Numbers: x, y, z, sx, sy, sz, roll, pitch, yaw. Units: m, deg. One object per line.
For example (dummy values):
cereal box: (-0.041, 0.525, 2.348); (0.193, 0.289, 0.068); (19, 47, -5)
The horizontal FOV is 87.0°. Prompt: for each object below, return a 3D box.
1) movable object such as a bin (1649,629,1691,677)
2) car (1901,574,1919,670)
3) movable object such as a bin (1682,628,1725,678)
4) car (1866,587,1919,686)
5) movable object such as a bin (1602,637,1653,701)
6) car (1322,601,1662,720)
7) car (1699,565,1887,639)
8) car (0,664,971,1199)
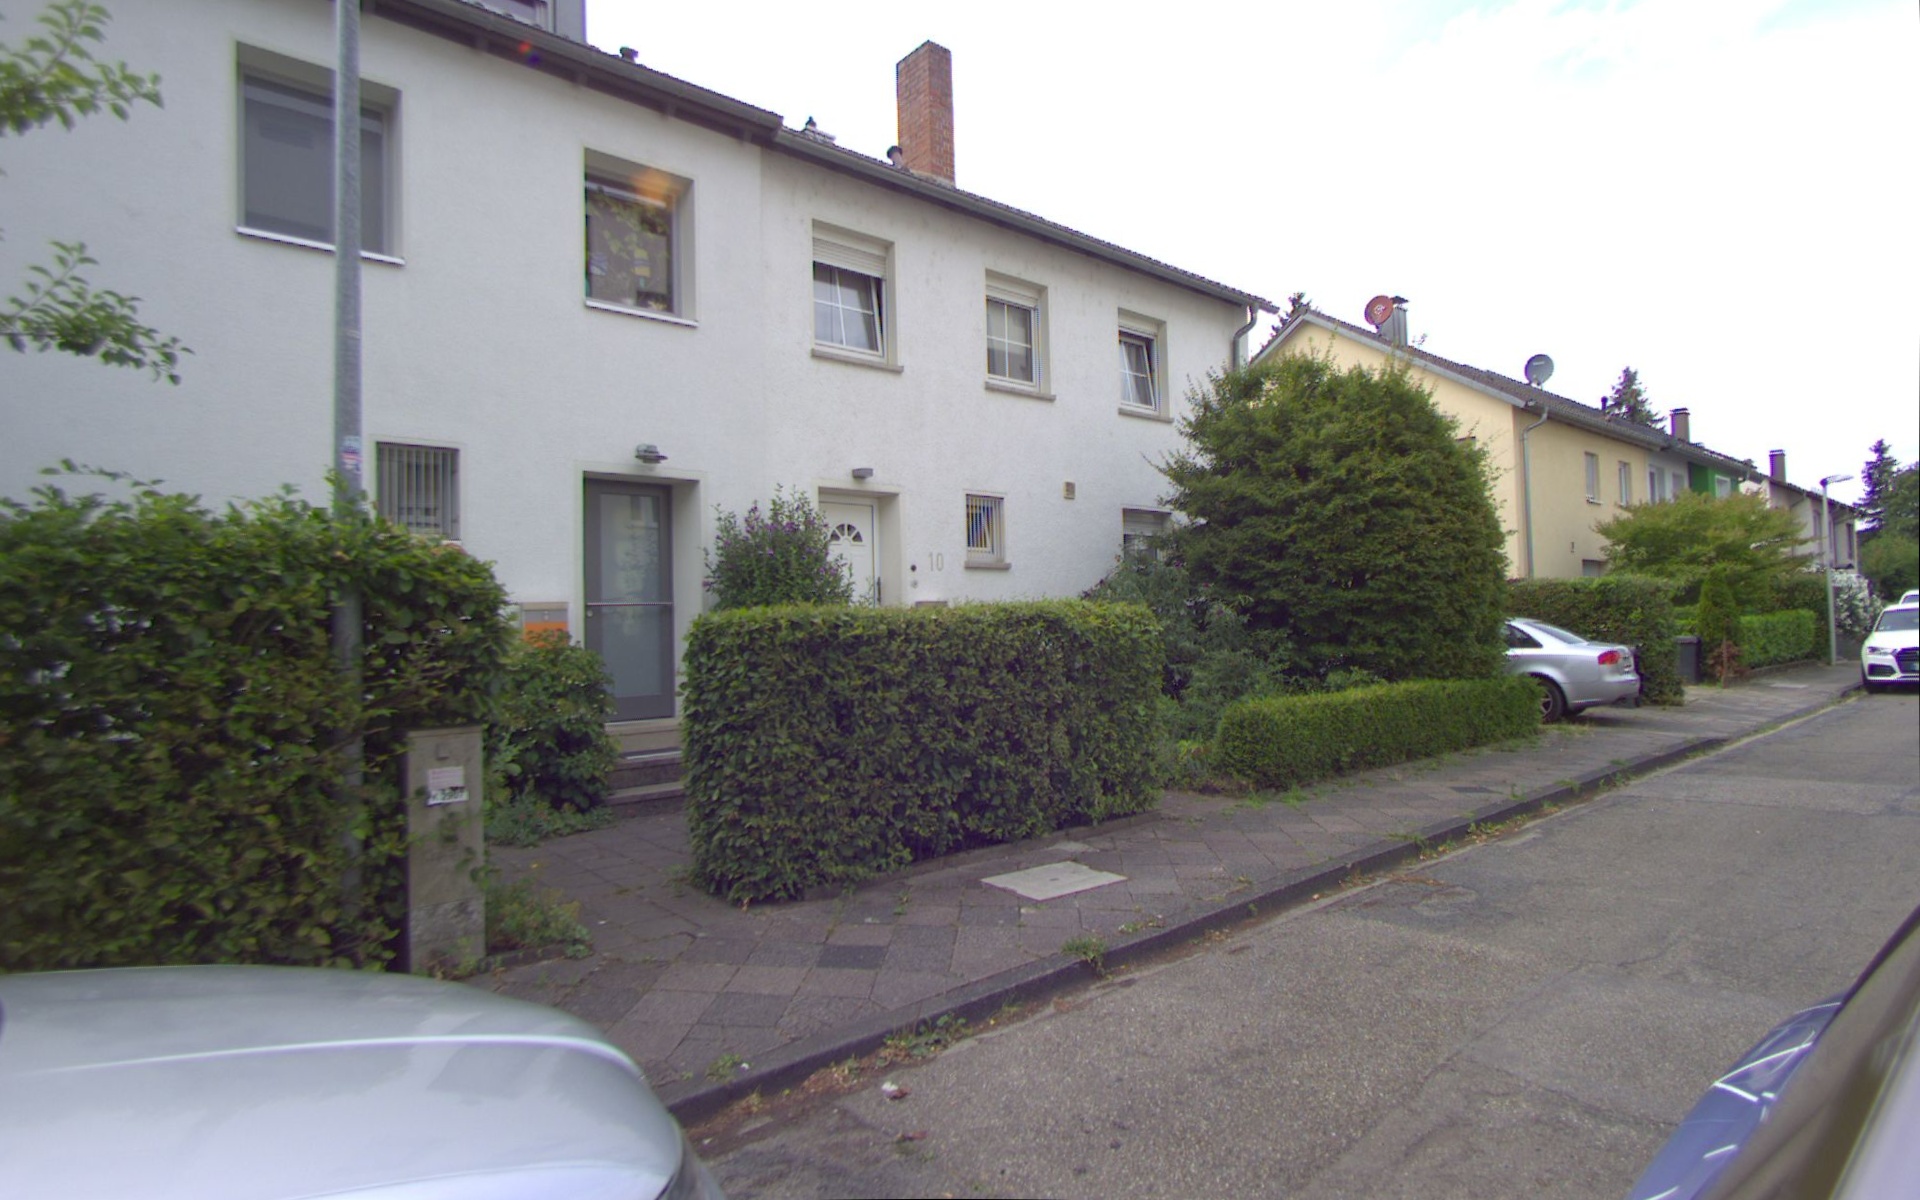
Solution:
movable object such as a bin: (13.418, 0.993, 19.125); (0.519, 0.879, 0.510); (0, -2, -41)
car: (22.450, 0.408, 22.301); (5.162, 1.990, 1.906); (0, -3, -41)
movable object such as a bin: (13.752, 0.973, 18.719); (0.519, 0.879, 0.510); (0, -2, -41)
car: (17.803, 0.594, 18.215); (4.092, 1.657, 1.826); (0, -3, -44)
movable object such as a bin: (10.111, 1.041, 15.334); (0.491, 0.933, 0.510); (0, -2, -41)
car: (7.543, 0.751, 14.594); (4.020, 1.445, 1.824); (0, 0, 44)
car: (31.004, 0.086, 37.813); (2.198, 2.575, 5.098); (0, -1, -39)
car: (-2.189, 0.858, 0.870); (4.254, 1.388, 1.827); (0, -4, -40)
